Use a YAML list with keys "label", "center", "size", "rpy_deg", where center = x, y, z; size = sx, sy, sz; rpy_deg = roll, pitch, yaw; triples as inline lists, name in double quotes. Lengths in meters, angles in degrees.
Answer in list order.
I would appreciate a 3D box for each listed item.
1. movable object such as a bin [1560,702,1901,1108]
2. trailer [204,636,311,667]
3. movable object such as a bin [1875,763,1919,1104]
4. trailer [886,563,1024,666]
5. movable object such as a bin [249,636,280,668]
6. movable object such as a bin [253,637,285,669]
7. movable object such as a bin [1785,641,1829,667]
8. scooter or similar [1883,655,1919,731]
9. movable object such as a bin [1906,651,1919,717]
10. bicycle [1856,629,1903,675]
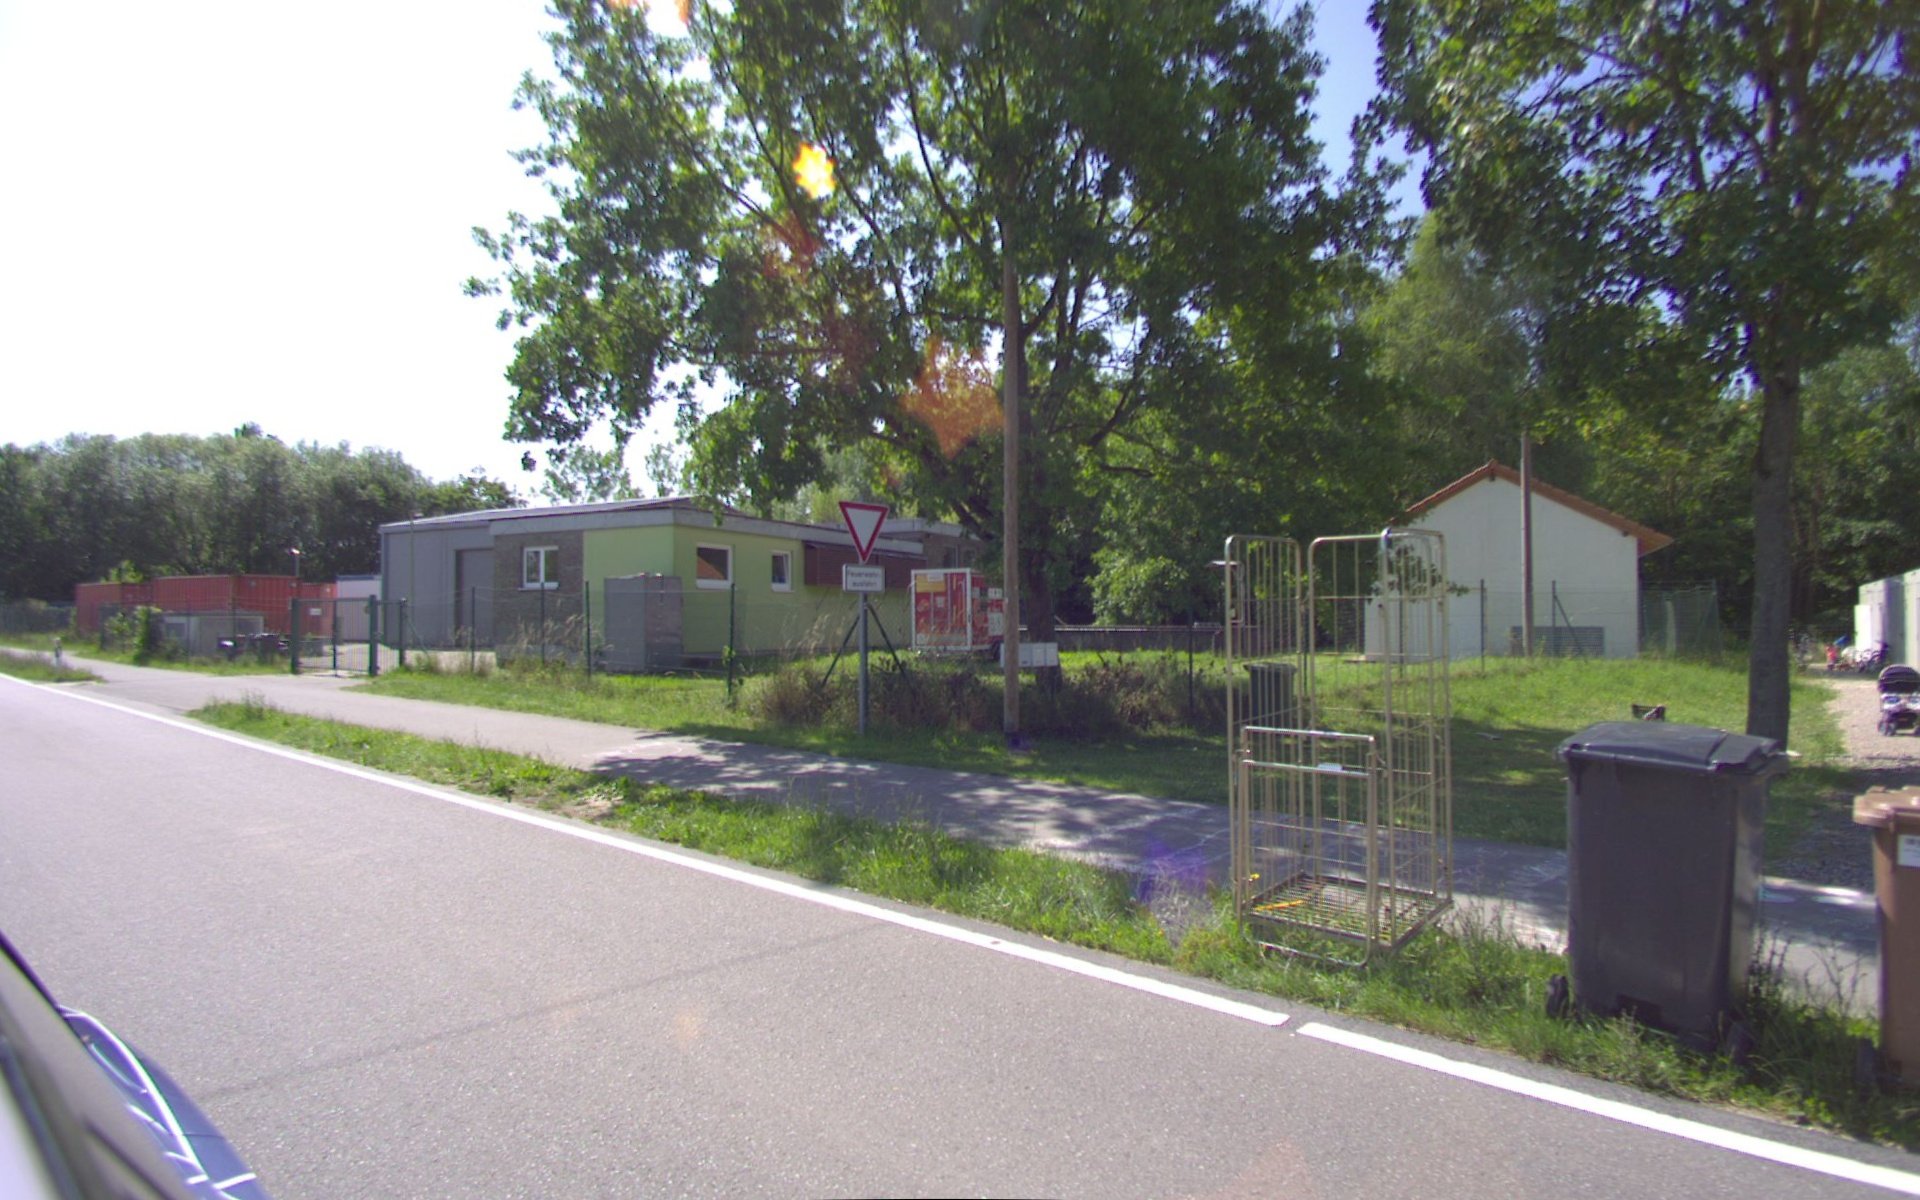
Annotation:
- label: "movable object such as a bin"
  center: [2.496, 0.886, 3.291]
  size: [0.690, 1.032, 0.749]
  rpy_deg: [2, -2, -42]
- label: "trailer"
  center: [-21.333, 1.550, 30.706]
  size: [3.350, 0.873, 1.617]
  rpy_deg: [-1, -2, 35]
- label: "movable object such as a bin"
  center: [3.017, 0.954, 2.825]
  size: [0.555, 0.883, 0.614]
  rpy_deg: [2, -2, -42]
- label: "trailer"
  center: [-0.019, 0.394, 25.056]
  size: [1.818, 2.295, 4.201]
  rpy_deg: [-1, -2, 25]
- label: "movable object such as a bin"
  center: [-19.548, 1.464, 28.443]
  size: [0.631, 0.882, 0.654]
  rpy_deg: [2, -3, -44]
- label: "movable object such as a bin"
  center: [-19.082, 1.463, 27.944]
  size: [0.631, 0.861, 0.654]
  rpy_deg: [2, -3, -44]
- label: "movable object such as a bin"
  center: [30.811, 1.950, 36.843]
  size: [1.165, 0.893, 1.537]
  rpy_deg: [-1, -2, 38]
- label: "scooter or similar"
  center: [13.233, 1.272, 14.006]
  size: [0.533, 1.005, 0.886]
  rpy_deg: [-1, -2, 35]
- label: "movable object such as a bin"
  center: [15.495, 1.327, 16.016]
  size: [0.663, 1.021, 0.688]
  rpy_deg: [-1, -2, 37]
- label: "bicycle"
  center: [27.751, 1.550, 30.588]
  size: [0.728, 1.320, 3.323]
  rpy_deg: [-1, -2, 37]
